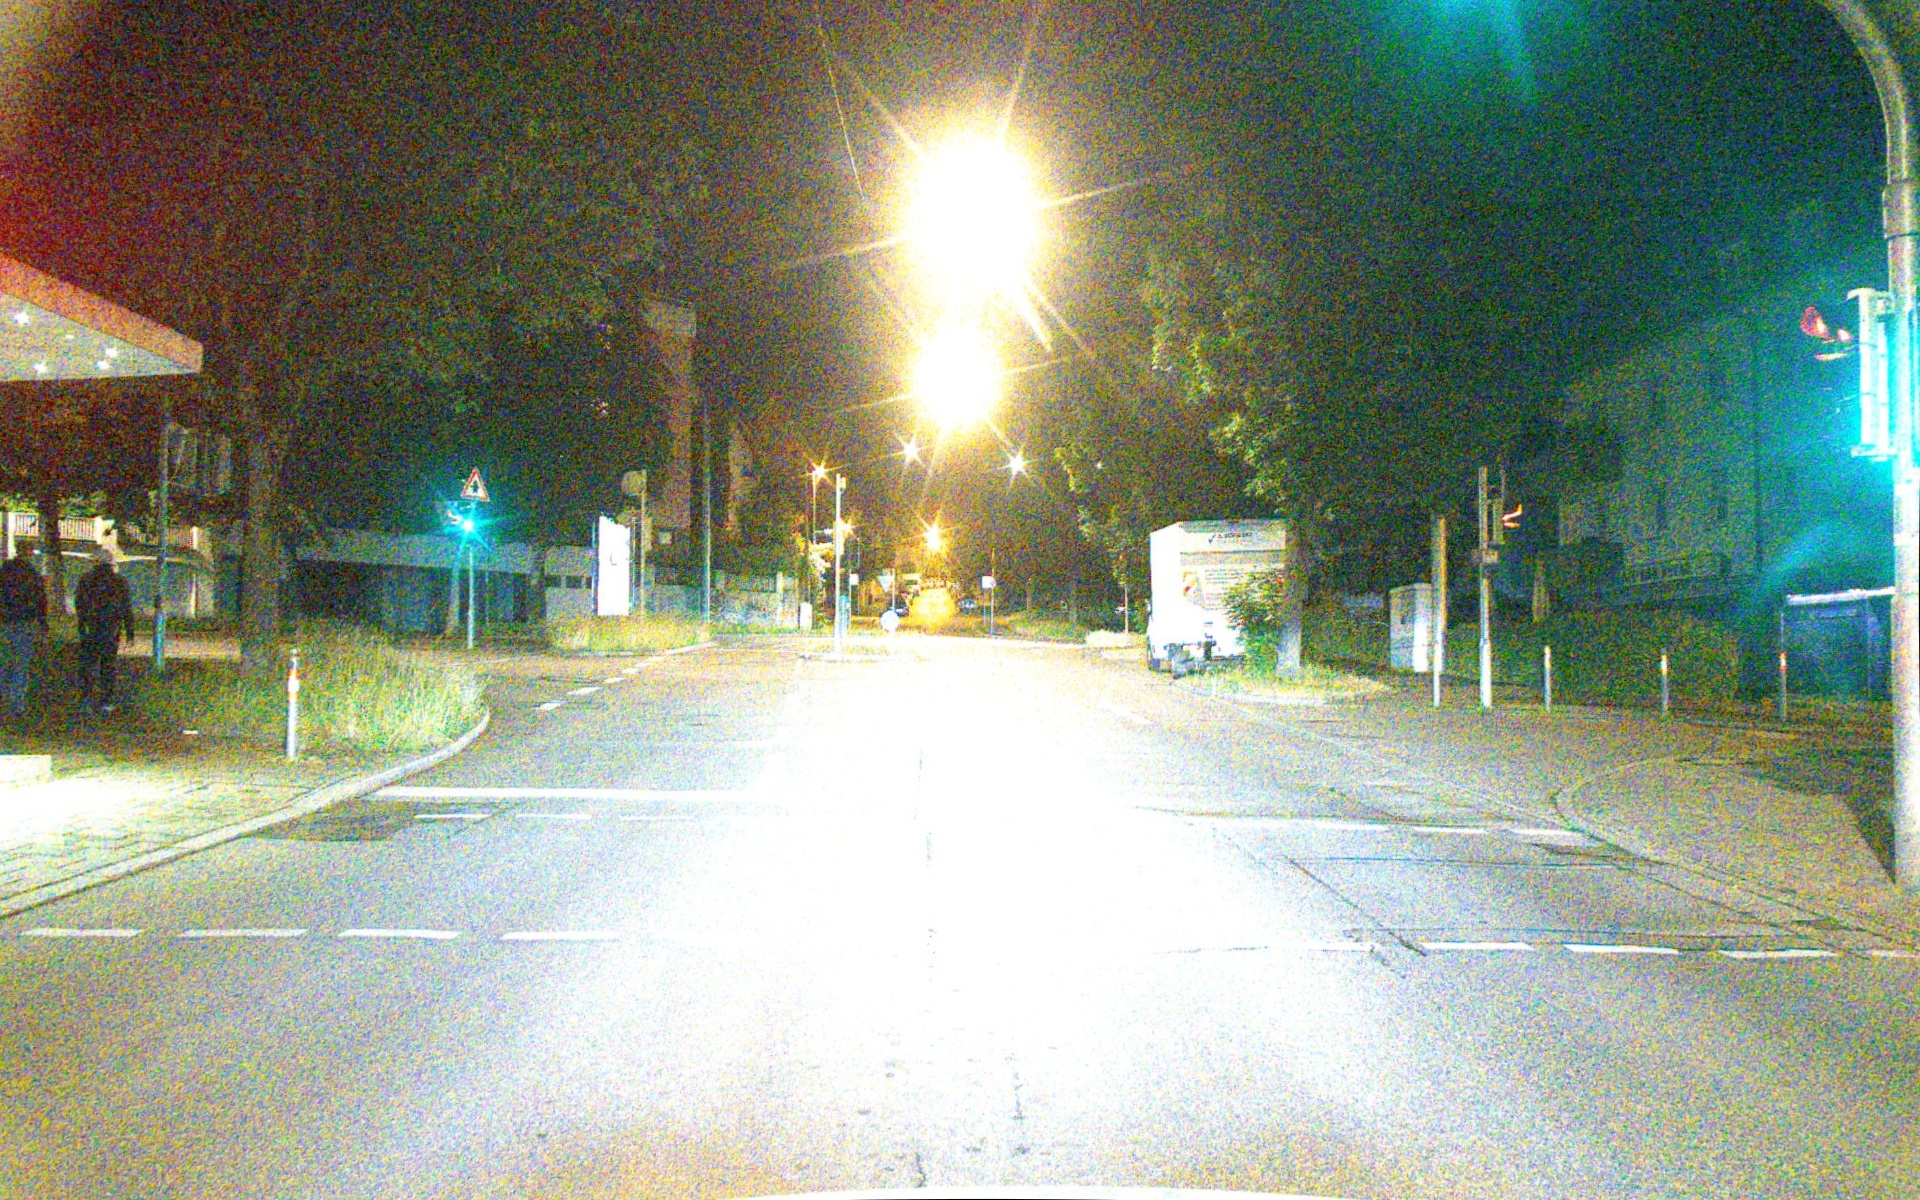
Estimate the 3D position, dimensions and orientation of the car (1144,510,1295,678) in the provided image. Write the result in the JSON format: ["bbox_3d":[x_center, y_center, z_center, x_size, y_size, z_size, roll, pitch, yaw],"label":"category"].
[{"bbox_3d":[5.247,-0.105,34.313,2.249,3.147,5.840,-1,0,1],"label":"car"}]

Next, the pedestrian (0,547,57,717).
[{"bbox_3d":[-10.010,0.334,17.520,0.558,1.761,0.543,1,-1,-1],"label":"pedestrian"}]

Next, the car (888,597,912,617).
[{"bbox_3d":[-4.851,0.547,134.273,1.869,1.585,3.903,1,0,-1],"label":"car"}]

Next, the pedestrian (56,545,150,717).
[{"bbox_3d":[-9.318,0.328,18.000,0.558,1.808,0.737,3,-1,-1],"label":"pedestrian"}]
